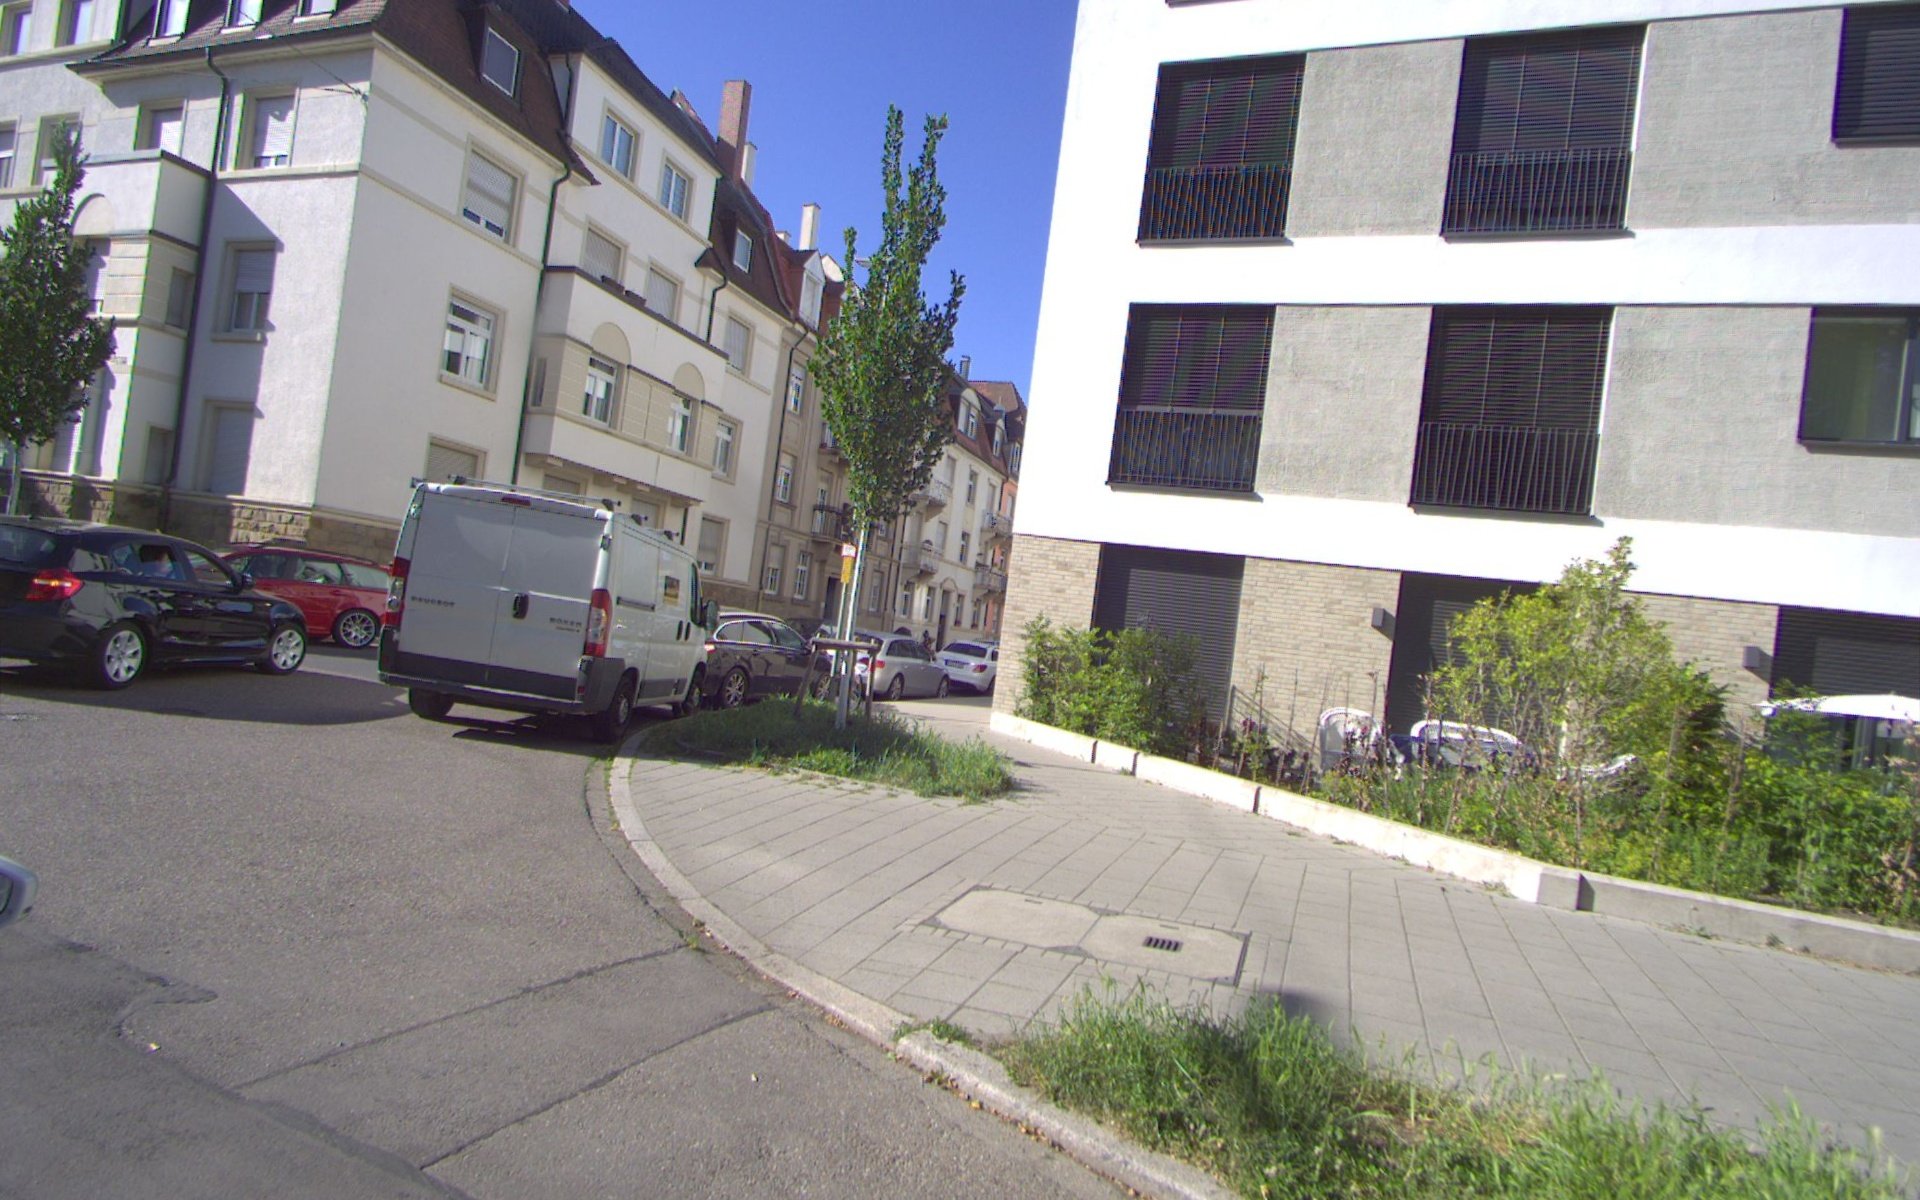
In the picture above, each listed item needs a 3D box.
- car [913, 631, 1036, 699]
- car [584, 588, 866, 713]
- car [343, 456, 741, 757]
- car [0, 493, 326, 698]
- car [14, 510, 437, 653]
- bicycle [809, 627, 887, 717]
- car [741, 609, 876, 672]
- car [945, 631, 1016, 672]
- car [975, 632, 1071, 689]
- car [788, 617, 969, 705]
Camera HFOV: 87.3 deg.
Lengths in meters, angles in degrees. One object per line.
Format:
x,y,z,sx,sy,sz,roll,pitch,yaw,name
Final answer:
0.538,1.908,28.483,1.928,1.485,4.951,7,-3,19,car
-3.560,0.863,16.444,2.009,1.486,4.947,7,-2,19,car
-4.160,0.129,11.236,2.194,2.333,5.058,7,-2,-2,car
-8.147,-0.100,9.768,1.758,1.542,3.995,7,-1,-9,car
-10.844,-0.181,15.243,1.923,1.486,4.722,6,-2,35,car
-1.754,1.068,15.468,0.653,1.187,1.986,8,-2,-18,bicycle
-4.579,1.315,31.284,1.794,1.486,4.948,7,-3,22,car
1.023,2.484,47.832,1.963,1.569,4.439,7,-3,19,car
2.168,2.064,33.373,1.928,1.485,4.536,7,-3,19,car
-1.614,1.389,22.210,1.925,1.445,4.947,9,-1,20,car
